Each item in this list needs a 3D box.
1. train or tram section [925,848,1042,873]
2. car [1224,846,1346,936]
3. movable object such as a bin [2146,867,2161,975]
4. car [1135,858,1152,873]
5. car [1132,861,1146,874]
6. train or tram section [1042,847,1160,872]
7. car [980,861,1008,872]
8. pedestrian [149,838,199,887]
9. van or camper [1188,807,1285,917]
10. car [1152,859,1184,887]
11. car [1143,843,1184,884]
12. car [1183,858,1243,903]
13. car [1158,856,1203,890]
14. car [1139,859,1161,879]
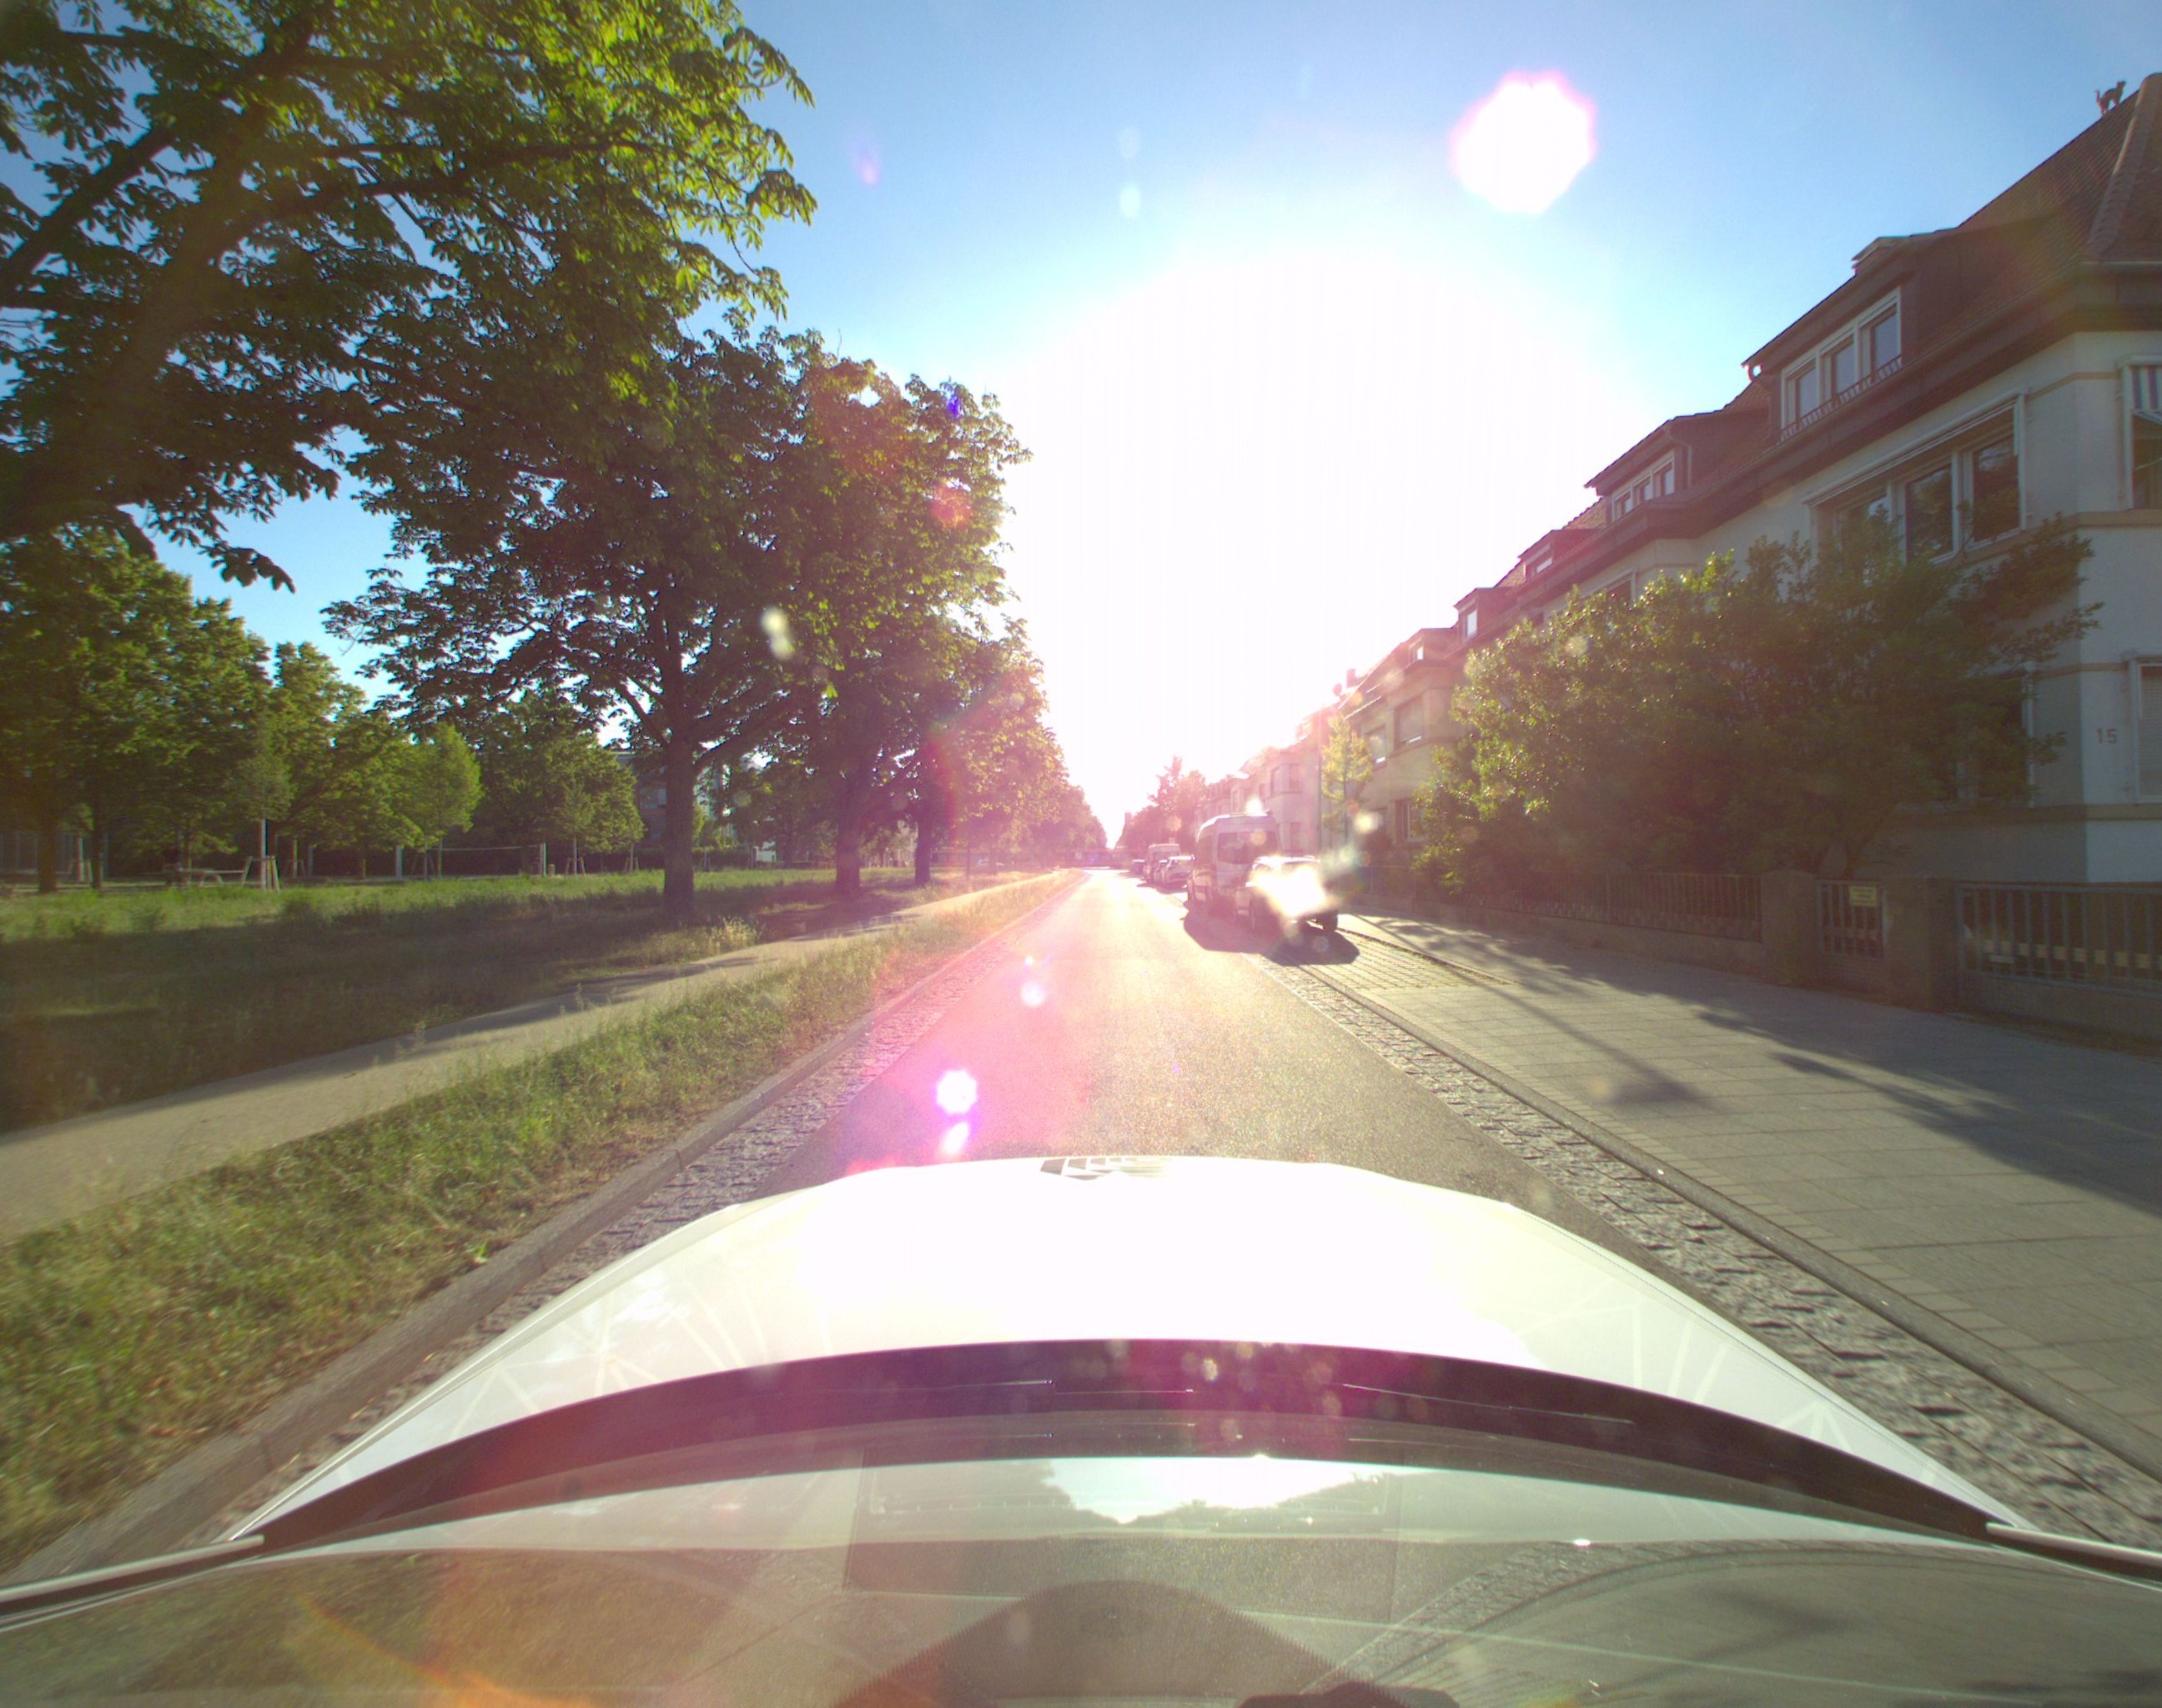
[{"bbox_3d":[-16.142,1.122,136.337,19.035,3.956,3.638,1,-1,-4],"label":"train or tram section"},{"bbox_3d":[4.184,0.713,17.335,1.657,1.593,4.088,-3,-1,2],"label":"car"},{"bbox_3d":[11.499,0.682,8.008,0.980,1.100,0.790,1,-1,5],"label":"movable object such as a bin"},{"bbox_3d":[6.583,1.194,85.644,1.643,1.530,3.854,-2,0,3],"label":"car"},{"bbox_3d":[7.256,1.737,102.562,1.643,1.530,3.854,-2,0,3],"label":"car"},{"bbox_3d":[3.244,0.905,137.674,19.737,3.956,3.639,1,-1,-3],"label":"train or tram section"},{"bbox_3d":[-13.627,1.954,127.553,4.341,1.764,1.995,1,-1,-7],"label":"car"},{"bbox_3d":[-35.431,0.347,31.824,1.044,1.881,0.798,1,-1,4],"label":"pedestrian"},{"bbox_3d":[4.354,0.253,23.741,1.936,2.778,5.942,1,-1,2],"label":"van or camper"},{"bbox_3d":[5.048,1.060,47.687,1.643,1.530,3.854,-2,0,3],"label":"car"},{"bbox_3d":[5.406,0.605,53.924,2.119,2.533,5.188,-2,0,0],"label":"car"},{"bbox_3d":[4.737,0.929,29.758,1.615,1.411,3.970,-4,-1,2],"label":"car"},{"bbox_3d":[5.103,0.933,42.333,1.831,1.636,4.131,-2,0,0],"label":"car"},{"bbox_3d":[5.660,1.197,66.717,1.643,1.530,3.854,-2,0,3],"label":"car"}]
